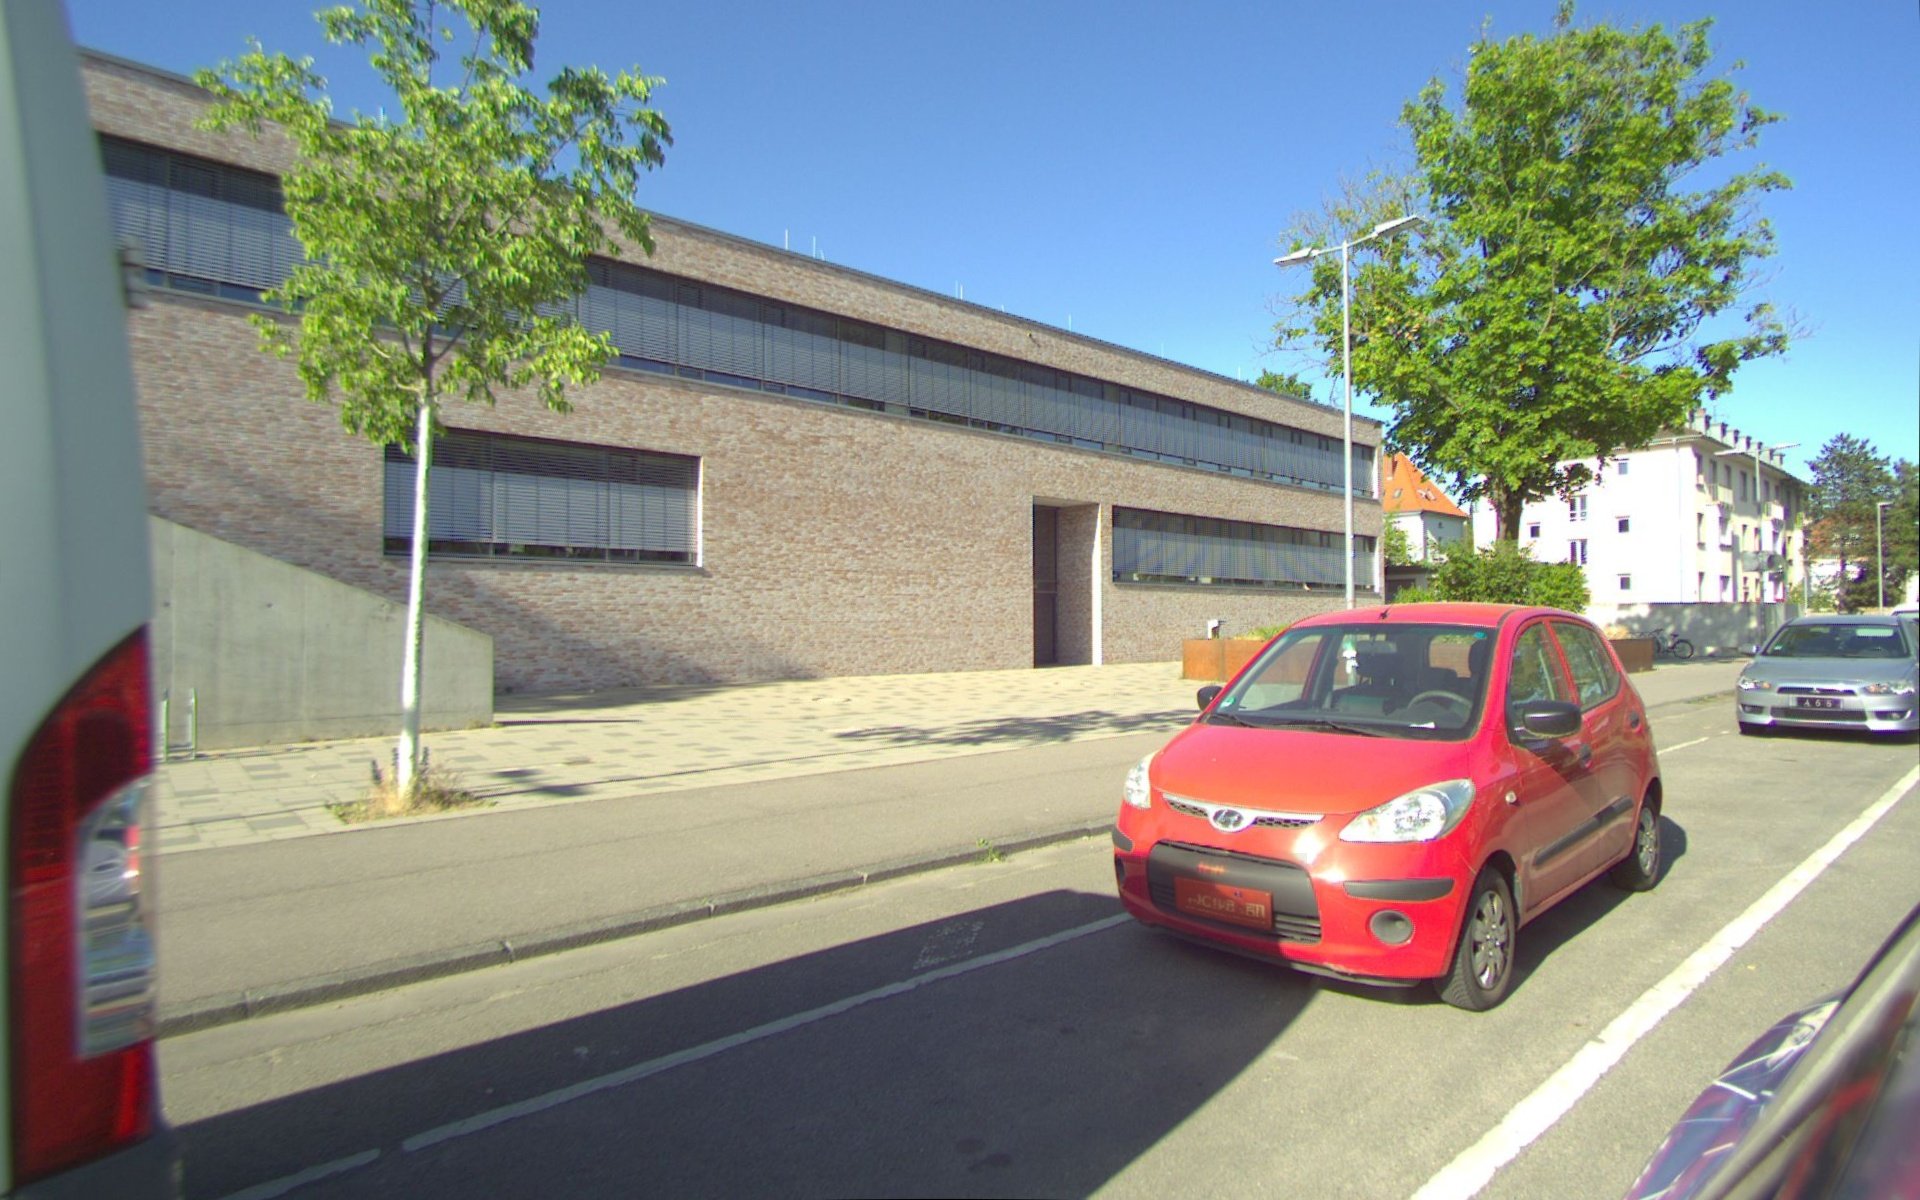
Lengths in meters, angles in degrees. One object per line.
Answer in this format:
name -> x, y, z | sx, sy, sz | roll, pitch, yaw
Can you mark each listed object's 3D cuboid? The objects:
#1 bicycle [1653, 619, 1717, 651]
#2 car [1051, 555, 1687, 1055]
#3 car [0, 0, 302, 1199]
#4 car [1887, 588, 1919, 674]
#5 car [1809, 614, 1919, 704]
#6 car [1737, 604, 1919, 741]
bicycle -> 24.738, 1.210, 34.568 | 0.491, 1.043, 1.670 | 1, -3, -42
car -> 2.242, 0.691, 5.086 | 3.531, 1.609, 1.621 | 1, -2, -43
car -> -3.507, 0.178, 0.287 | 5.337, 2.608, 2.244 | 0, -2, -41
car -> 23.476, 0.695, 23.984 | 4.385, 1.933, 1.809 | 1, -2, -43
car -> 15.649, 0.916, 16.848 | 4.057, 1.342, 1.703 | 0, -2, -41
car -> 11.526, 0.818, 12.937 | 4.100, 1.497, 1.704 | 0, -2, -41
